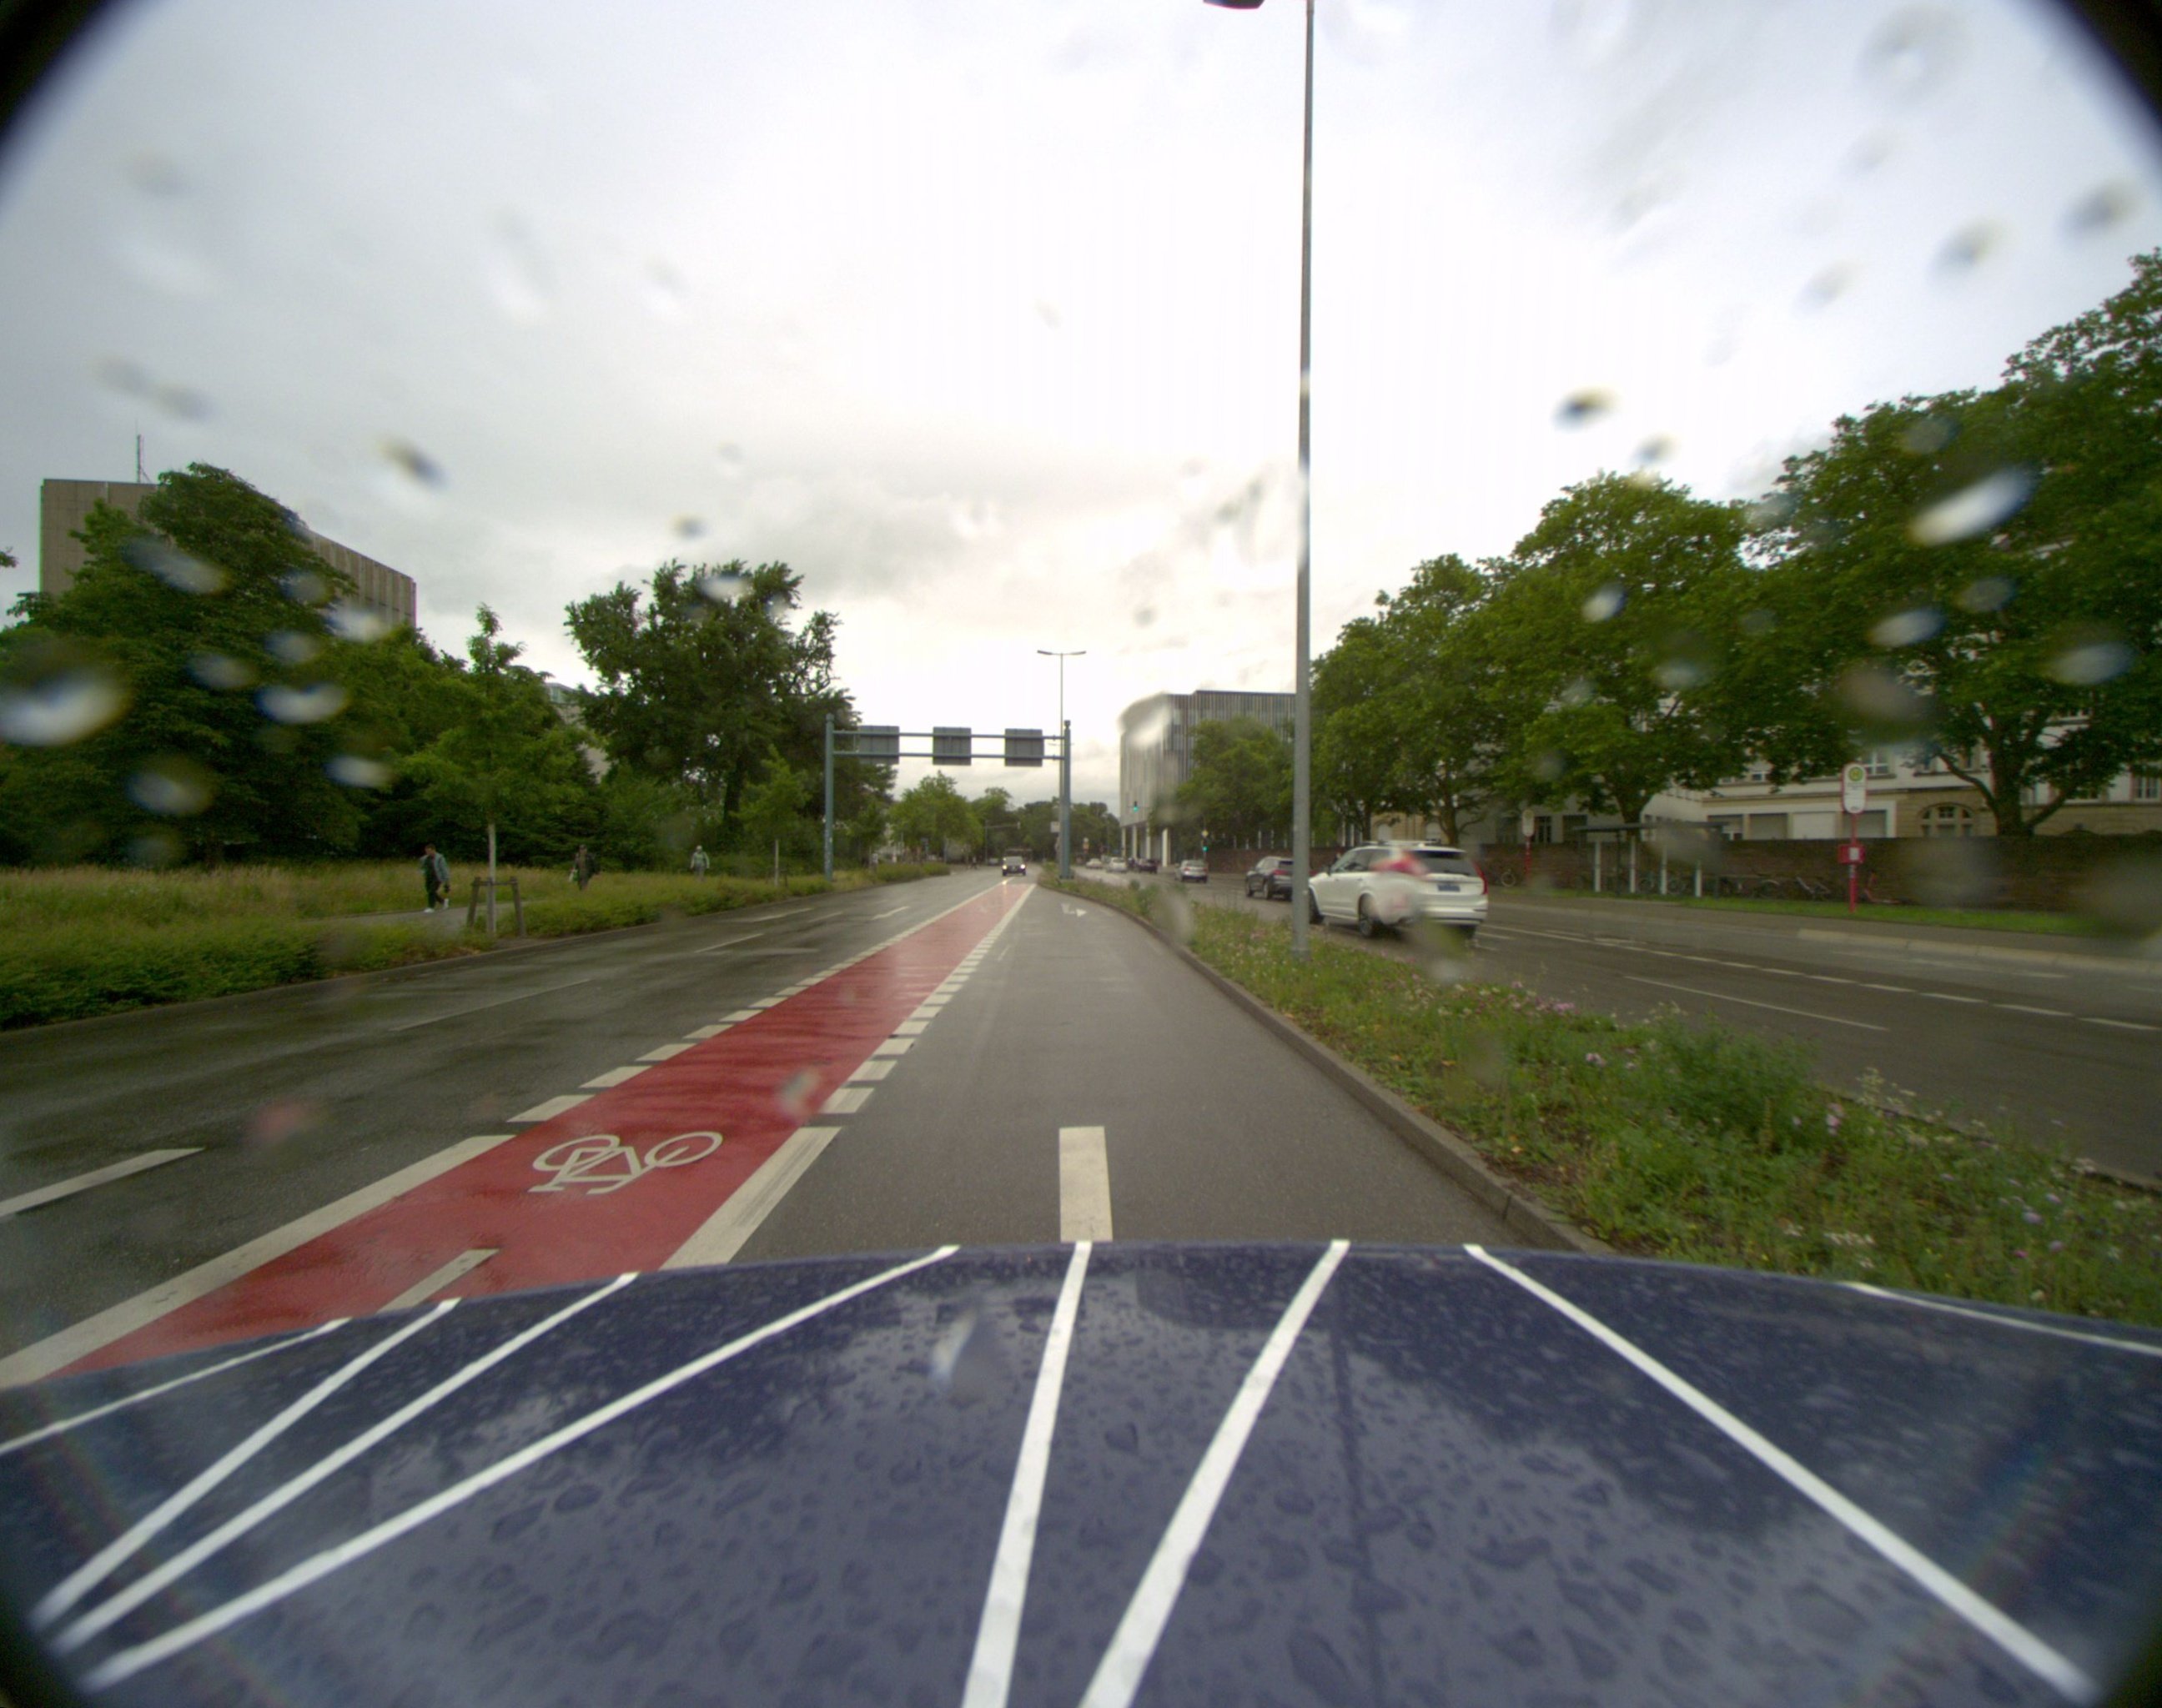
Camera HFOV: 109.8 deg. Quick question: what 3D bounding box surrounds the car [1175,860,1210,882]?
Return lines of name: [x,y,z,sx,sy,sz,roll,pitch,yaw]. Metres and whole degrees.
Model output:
car: [7.572,1.129,51.843,1.683,1.396,4.157,1,0,-1]

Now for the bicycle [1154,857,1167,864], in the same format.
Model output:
bicycle: [14.078,1.107,134.626,2.287,1.215,0.598,0,0,-15]

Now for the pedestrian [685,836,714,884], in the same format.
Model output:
pedestrian: [-15.951,0.247,31.775,0.792,2.002,0.829,0,0,4]

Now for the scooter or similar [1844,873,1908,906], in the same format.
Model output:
scooter or similar: [26.753,1.167,25.592,0.574,1.040,1.360,0,0,-19]

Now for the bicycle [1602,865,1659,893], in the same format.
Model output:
bicycle: [23.722,1.073,32.824,0.575,1.129,1.987,0,0,-22]

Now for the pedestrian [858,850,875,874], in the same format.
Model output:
pedestrian: [-15.431,0.600,54.641,0.935,1.693,0.829,-1,-2,2]

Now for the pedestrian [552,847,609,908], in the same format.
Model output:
pedestrian: [-14.593,0.670,22.183,0.935,1.737,1.046,0,0,4]

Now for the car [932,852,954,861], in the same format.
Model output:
car: [-28.405,0.455,155.991,4.428,1.862,1.636,0,0,-11]

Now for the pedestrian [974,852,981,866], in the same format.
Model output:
pedestrian: [-14.225,0.695,104.406,0.626,1.813,0.784,0,1,-44]

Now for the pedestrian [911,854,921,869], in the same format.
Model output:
pedestrian: [-17.846,0.784,82.142,0.878,1.598,0.862,0,0,-25]

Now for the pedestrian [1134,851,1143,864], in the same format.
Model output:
pedestrian: [8.341,0.545,110.507,0.941,1.813,0.921,0,0,-26]

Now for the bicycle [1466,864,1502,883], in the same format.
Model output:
bicycle: [21.208,1.012,40.035,0.734,0.977,1.699,0,0,-14]

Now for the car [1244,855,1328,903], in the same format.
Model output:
car: [7.934,0.917,29.917,1.998,1.626,4.602,2,0,0]

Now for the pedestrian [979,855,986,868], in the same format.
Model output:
pedestrian: [-13.636,1.067,105.449,0.626,1.813,0.784,0,1,-41]

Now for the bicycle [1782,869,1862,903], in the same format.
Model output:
bicycle: [26.242,1.107,26.946,0.575,1.129,1.988,0,0,-19]

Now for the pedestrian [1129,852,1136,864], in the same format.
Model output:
pedestrian: [7.323,0.555,108.931,0.788,1.814,0.623,0,1,-26]

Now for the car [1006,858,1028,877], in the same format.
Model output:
car: [-4.990,1.037,59.114,1.661,1.356,4.105,0,0,-4]

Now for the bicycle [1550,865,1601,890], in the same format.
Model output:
bicycle: [22.772,1.068,35.043,0.575,1.129,1.987,0,0,-22]

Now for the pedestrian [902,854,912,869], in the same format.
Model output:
pedestrian: [-18.732,0.797,81.787,0.878,1.598,0.862,0,0,-26]

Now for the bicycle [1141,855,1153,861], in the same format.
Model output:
bicycle: [12.576,0.772,145.435,2.283,1.215,0.599,0,0,6]

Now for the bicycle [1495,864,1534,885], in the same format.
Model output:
bicycle: [21.659,1.009,37.999,0.734,0.977,1.699,0,0,-14]

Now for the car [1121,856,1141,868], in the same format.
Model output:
car: [5.918,0.937,89.916,1.629,1.407,4.063,2,0,-6]

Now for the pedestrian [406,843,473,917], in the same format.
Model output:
pedestrian: [-15.802,0.627,18.741,0.935,1.786,0.829,0,0,4]

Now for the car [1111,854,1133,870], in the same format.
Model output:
car: [3.989,0.781,73.769,1.684,1.493,3.867,1,0,-3]

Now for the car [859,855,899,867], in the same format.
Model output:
car: [-24.483,0.813,92.127,4.389,1.330,1.771,0,3,-6]

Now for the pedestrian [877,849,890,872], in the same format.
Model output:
pedestrian: [-15.950,0.533,61.317,0.731,1.848,0.851,0,0,4]

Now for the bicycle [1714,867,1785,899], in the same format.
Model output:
bicycle: [25.297,1.079,28.778,0.575,1.129,1.988,0,0,-19]

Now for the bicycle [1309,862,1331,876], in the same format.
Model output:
bicycle: [17.225,1.063,54.720,0.734,0.977,1.699,0,0,-14]

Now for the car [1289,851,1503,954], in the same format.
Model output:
car: [6.028,0.808,15.373,1.831,1.672,5.163,2,0,-4]

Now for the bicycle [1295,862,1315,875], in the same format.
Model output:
bicycle: [16.640,1.061,56.519,0.733,0.977,1.863,0,0,-9]

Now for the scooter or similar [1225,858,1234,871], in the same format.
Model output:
scooter or similar: [14.062,0.957,72.017,0.392,1.191,1.141,-7,1,-9]

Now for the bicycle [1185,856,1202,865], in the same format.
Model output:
bicycle: [16.111,0.896,108.760,2.287,1.215,0.598,0,0,-15]

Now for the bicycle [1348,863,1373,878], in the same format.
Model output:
bicycle: [18.329,1.065,49.924,0.734,0.977,1.699,0,0,-14]

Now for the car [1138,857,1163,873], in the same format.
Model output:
car: [6.965,1.108,76.551,1.814,1.531,4.701,2,0,-3]

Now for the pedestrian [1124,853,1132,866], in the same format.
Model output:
pedestrian: [6.528,0.743,104.825,0.788,1.813,0.794,0,0,-26]

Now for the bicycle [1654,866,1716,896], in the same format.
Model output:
bicycle: [24.561,1.076,30.931,0.575,1.129,1.988,0,0,-19]

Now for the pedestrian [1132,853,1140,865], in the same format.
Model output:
pedestrian: [7.842,0.728,108.377,0.788,1.813,0.623,0,0,-26]

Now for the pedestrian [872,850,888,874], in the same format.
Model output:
pedestrian: [-14.383,0.585,54.414,0.935,1.710,0.829,-1,-2,2]

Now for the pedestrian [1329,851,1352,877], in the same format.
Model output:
pedestrian: [17.083,0.634,50.119,0.871,1.686,1.399,0,0,-9]

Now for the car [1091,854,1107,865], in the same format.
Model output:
car: [2.565,0.761,107.924,1.601,1.407,4.521,2,0,-6]

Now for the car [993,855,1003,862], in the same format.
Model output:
car: [-15.671,0.885,143.139,1.661,1.259,4.105,0,0,-4]
